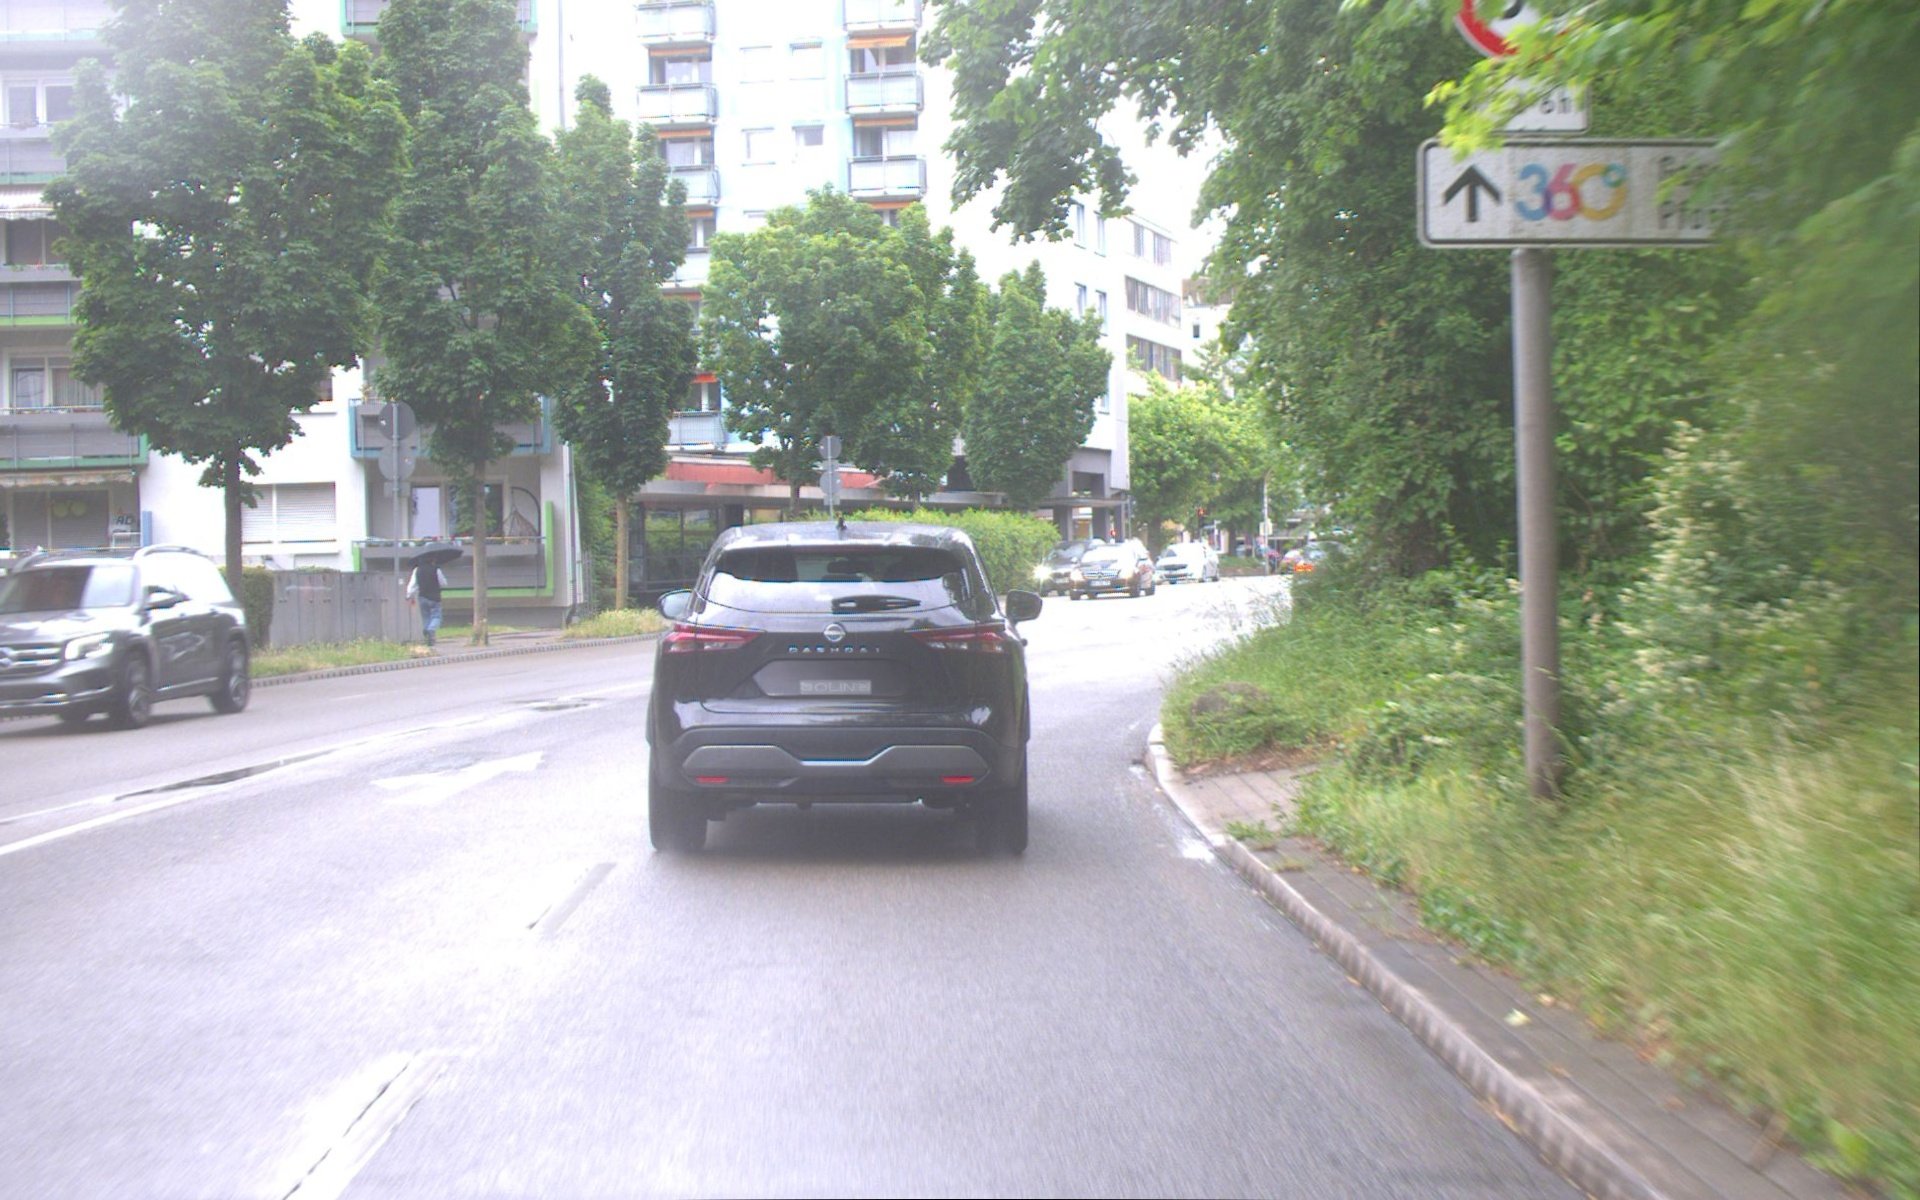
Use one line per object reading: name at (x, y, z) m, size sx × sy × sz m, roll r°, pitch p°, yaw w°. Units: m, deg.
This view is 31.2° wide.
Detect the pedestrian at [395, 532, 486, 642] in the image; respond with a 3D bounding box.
pedestrian at (-8.759, -0.234, 58.004) m, size 1.135 × 1.797 × 1.262 m, roll -2°, pitch 1°, yaw 9°

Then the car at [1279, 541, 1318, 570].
car at (18.214, -2.383, 184.898) m, size 1.673 × 1.473 × 3.606 m, roll -3°, pitch 1°, yaw 11°

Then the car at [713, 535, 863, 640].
car at (-2.706, -0.236, 54.887) m, size 1.676 × 1.557 × 4.141 m, roll 1°, pitch 2°, yaw 7°

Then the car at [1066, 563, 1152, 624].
car at (3.878, -0.196, 88.716) m, size 1.841 × 1.380 × 4.359 m, roll -3°, pitch 1°, yaw 7°

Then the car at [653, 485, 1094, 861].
car at (-0.532, 0.301, 17.640) m, size 1.959 × 1.647 × 4.001 m, roll -2°, pitch 1°, yaw -4°

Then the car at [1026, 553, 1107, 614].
car at (3.153, -0.503, 100.957) m, size 1.874 × 1.597 × 4.463 m, roll -3°, pitch 1°, yaw 7°

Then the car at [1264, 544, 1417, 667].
car at (6.729, 0.065, 60.427) m, size 1.995 × 2.007 × 3.997 m, roll -1°, pitch 1°, yaw 16°

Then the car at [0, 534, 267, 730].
car at (-8.125, 0.260, 32.179) m, size 1.922 × 1.625 × 4.501 m, roll -3°, pitch 1°, yaw 5°

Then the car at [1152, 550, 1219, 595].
car at (7.891, -0.984, 119.889) m, size 1.874 × 1.386 × 4.625 m, roll -3°, pitch 1°, yaw 9°
